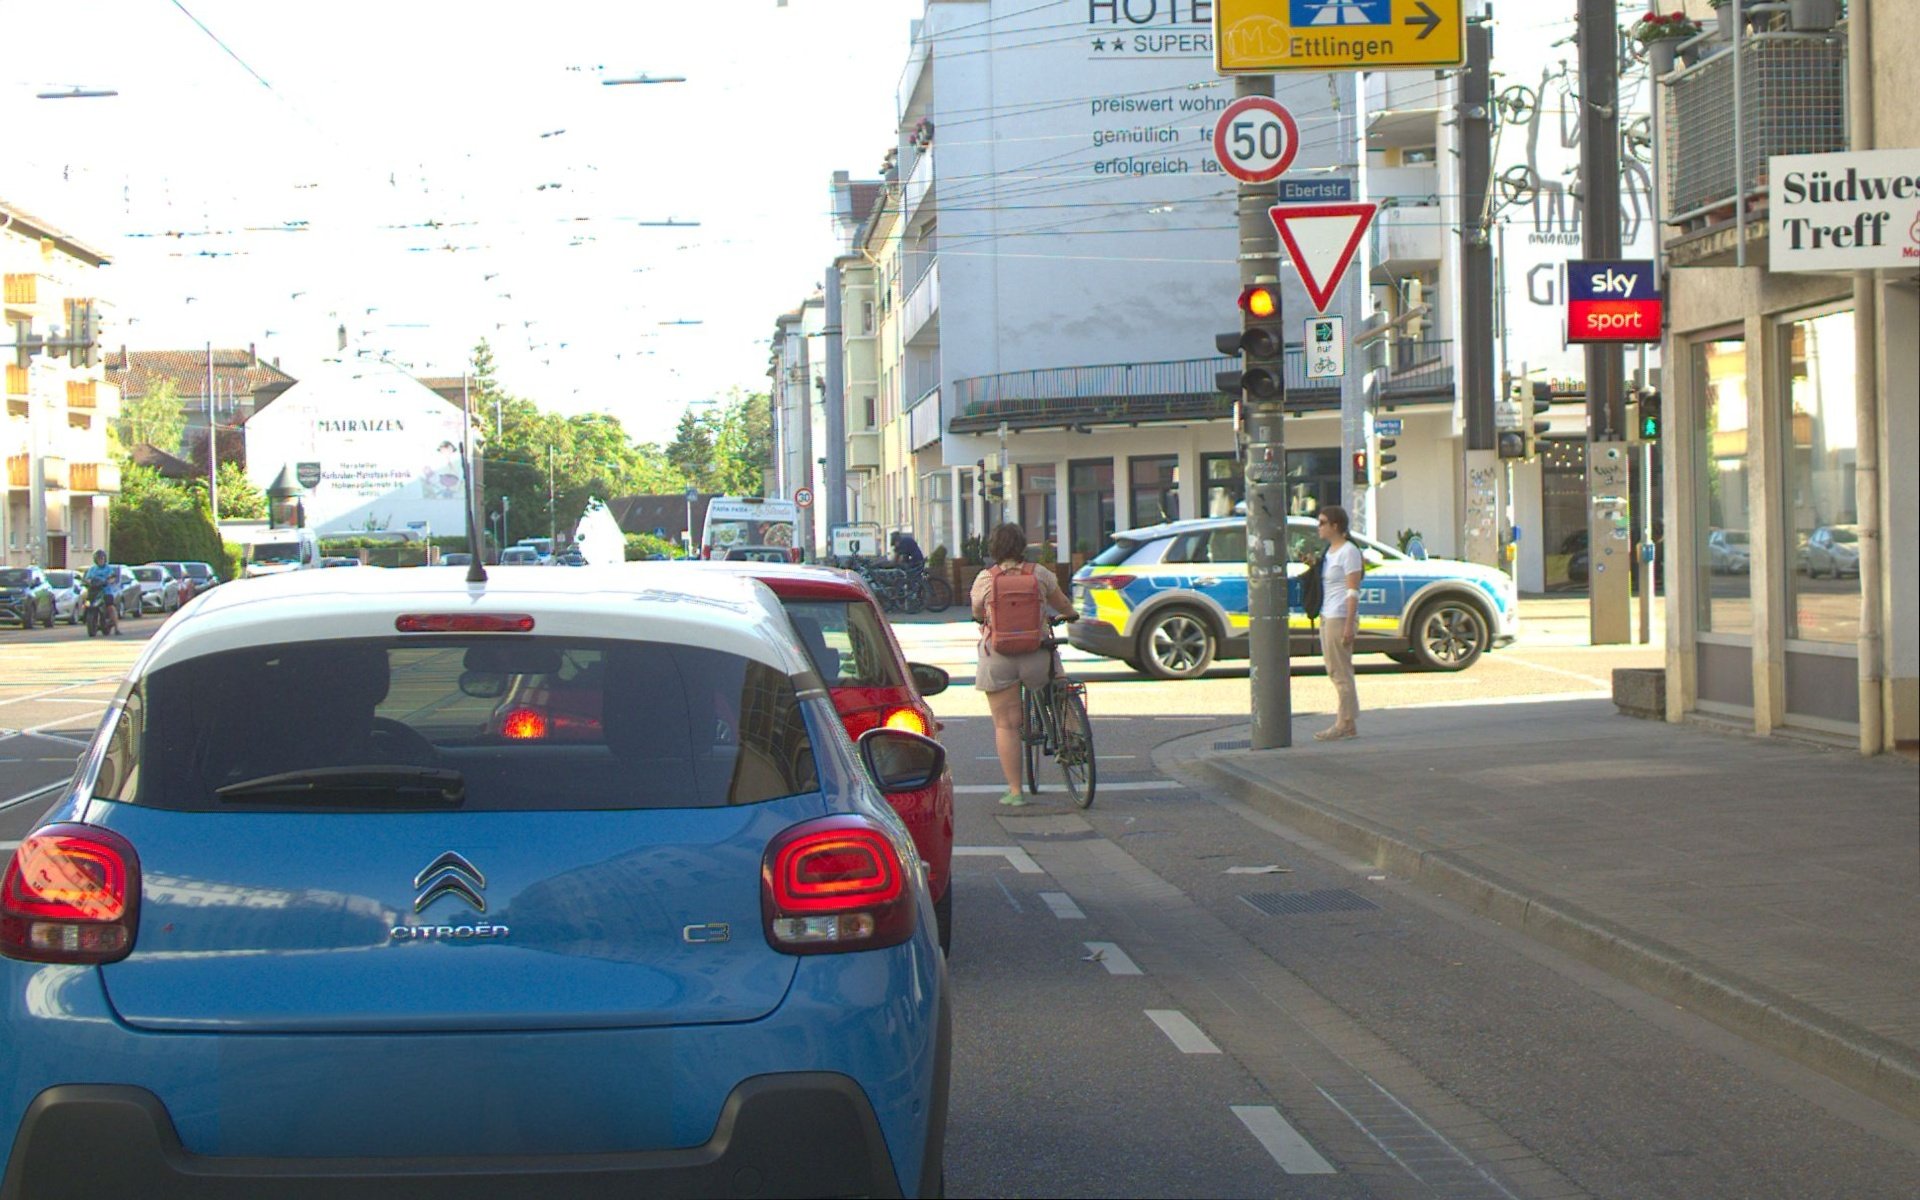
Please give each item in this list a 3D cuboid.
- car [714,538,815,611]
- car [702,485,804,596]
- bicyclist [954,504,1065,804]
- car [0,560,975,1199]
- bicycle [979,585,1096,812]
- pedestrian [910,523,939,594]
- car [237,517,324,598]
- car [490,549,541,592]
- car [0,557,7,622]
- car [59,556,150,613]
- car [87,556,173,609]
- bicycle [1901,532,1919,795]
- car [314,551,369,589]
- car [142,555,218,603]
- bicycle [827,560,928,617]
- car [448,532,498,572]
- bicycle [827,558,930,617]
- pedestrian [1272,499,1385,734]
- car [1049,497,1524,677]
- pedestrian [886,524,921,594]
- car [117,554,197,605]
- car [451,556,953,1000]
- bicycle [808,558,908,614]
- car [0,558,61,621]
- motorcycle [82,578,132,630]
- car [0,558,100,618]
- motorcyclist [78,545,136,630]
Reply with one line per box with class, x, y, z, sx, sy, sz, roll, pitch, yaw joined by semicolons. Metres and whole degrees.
car;-3.884;-0.515;67.813;1.786;1.354;3.915;-1;1;-6
car;-4.435;-1.277;73.249;2.079;2.262;5.652;0;1;-4
bicyclist;0.290;0.304;20.608;0.600;1.740;1.084;-1;1;-1
car;-0.958;0.669;7.383;1.680;1.457;4.001;0;1;-4
bicycle;0.448;0.560;20.650;0.613;1.260;1.911;-1;1;-1
pedestrian;-0.722;-0.848;70.015;0.467;1.415;0.527;-1;1;-13
car;-23.666;-1.503;119.942;2.493;2.703;5.839;-1;1;-7
car;-22.052;-1.500;170.848;2.338;2.032;5.051;-1;1;-6
car;-23.323;-0.193;79.232;1.950;1.514;4.001;-1;1;-6
car;-24.462;-0.457;98.381;1.950;1.514;4.001;-1;1;-6
car;-24.929;-0.541;103.385;1.950;1.514;4.001;-1;1;-6
bicycle;4.914;0.313;15.761;0.640;1.260;1.911;-1;1;-1
car;-25.982;-1.280;144.576;1.950;1.514;4.001;-1;1;-6
car;-26.073;-0.721;115.006;1.950;1.514;4.001;-1;1;-6
bicycle;-1.609;-0.236;67.128;1.904;1.061;0.642;-1;1;-7
car;-20.573;-2.034;145.269;2.004;1.622;5.054;-1;1;-8
bicycle;-1.560;-0.242;65.822;1.904;1.061;0.642;-1;1;-7
pedestrian;2.608;0.107;24.383;0.751;1.629;0.740;-1;1;6
car;3.269;-0.151;34.960;4.533;1.678;1.793;-1;1;-5
pedestrian;-1.155;-0.845;70.266;0.525;1.415;0.546;-1;1;20
car;-25.363;-0.672;108.664;1.950;1.514;4.001;-1;1;-6
car;-1.005;0.578;13.593;1.680;1.457;4.001;0;1;-4
bicycle;-2.028;-0.274;68.321;1.904;1.061;0.642;-1;1;-7
car;-23.789;-0.267;85.896;1.950;1.514;4.001;-1;1;-6
motorcycle;-16.696;0.073;67.294;0.751;0.973;2.098;-1;1;-9
car;-24.309;-0.335;91.954;1.950;1.514;4.001;-1;1;-6
motorcyclist;-16.677;-0.252;67.220;0.991;1.625;0.739;-1;1;-9
